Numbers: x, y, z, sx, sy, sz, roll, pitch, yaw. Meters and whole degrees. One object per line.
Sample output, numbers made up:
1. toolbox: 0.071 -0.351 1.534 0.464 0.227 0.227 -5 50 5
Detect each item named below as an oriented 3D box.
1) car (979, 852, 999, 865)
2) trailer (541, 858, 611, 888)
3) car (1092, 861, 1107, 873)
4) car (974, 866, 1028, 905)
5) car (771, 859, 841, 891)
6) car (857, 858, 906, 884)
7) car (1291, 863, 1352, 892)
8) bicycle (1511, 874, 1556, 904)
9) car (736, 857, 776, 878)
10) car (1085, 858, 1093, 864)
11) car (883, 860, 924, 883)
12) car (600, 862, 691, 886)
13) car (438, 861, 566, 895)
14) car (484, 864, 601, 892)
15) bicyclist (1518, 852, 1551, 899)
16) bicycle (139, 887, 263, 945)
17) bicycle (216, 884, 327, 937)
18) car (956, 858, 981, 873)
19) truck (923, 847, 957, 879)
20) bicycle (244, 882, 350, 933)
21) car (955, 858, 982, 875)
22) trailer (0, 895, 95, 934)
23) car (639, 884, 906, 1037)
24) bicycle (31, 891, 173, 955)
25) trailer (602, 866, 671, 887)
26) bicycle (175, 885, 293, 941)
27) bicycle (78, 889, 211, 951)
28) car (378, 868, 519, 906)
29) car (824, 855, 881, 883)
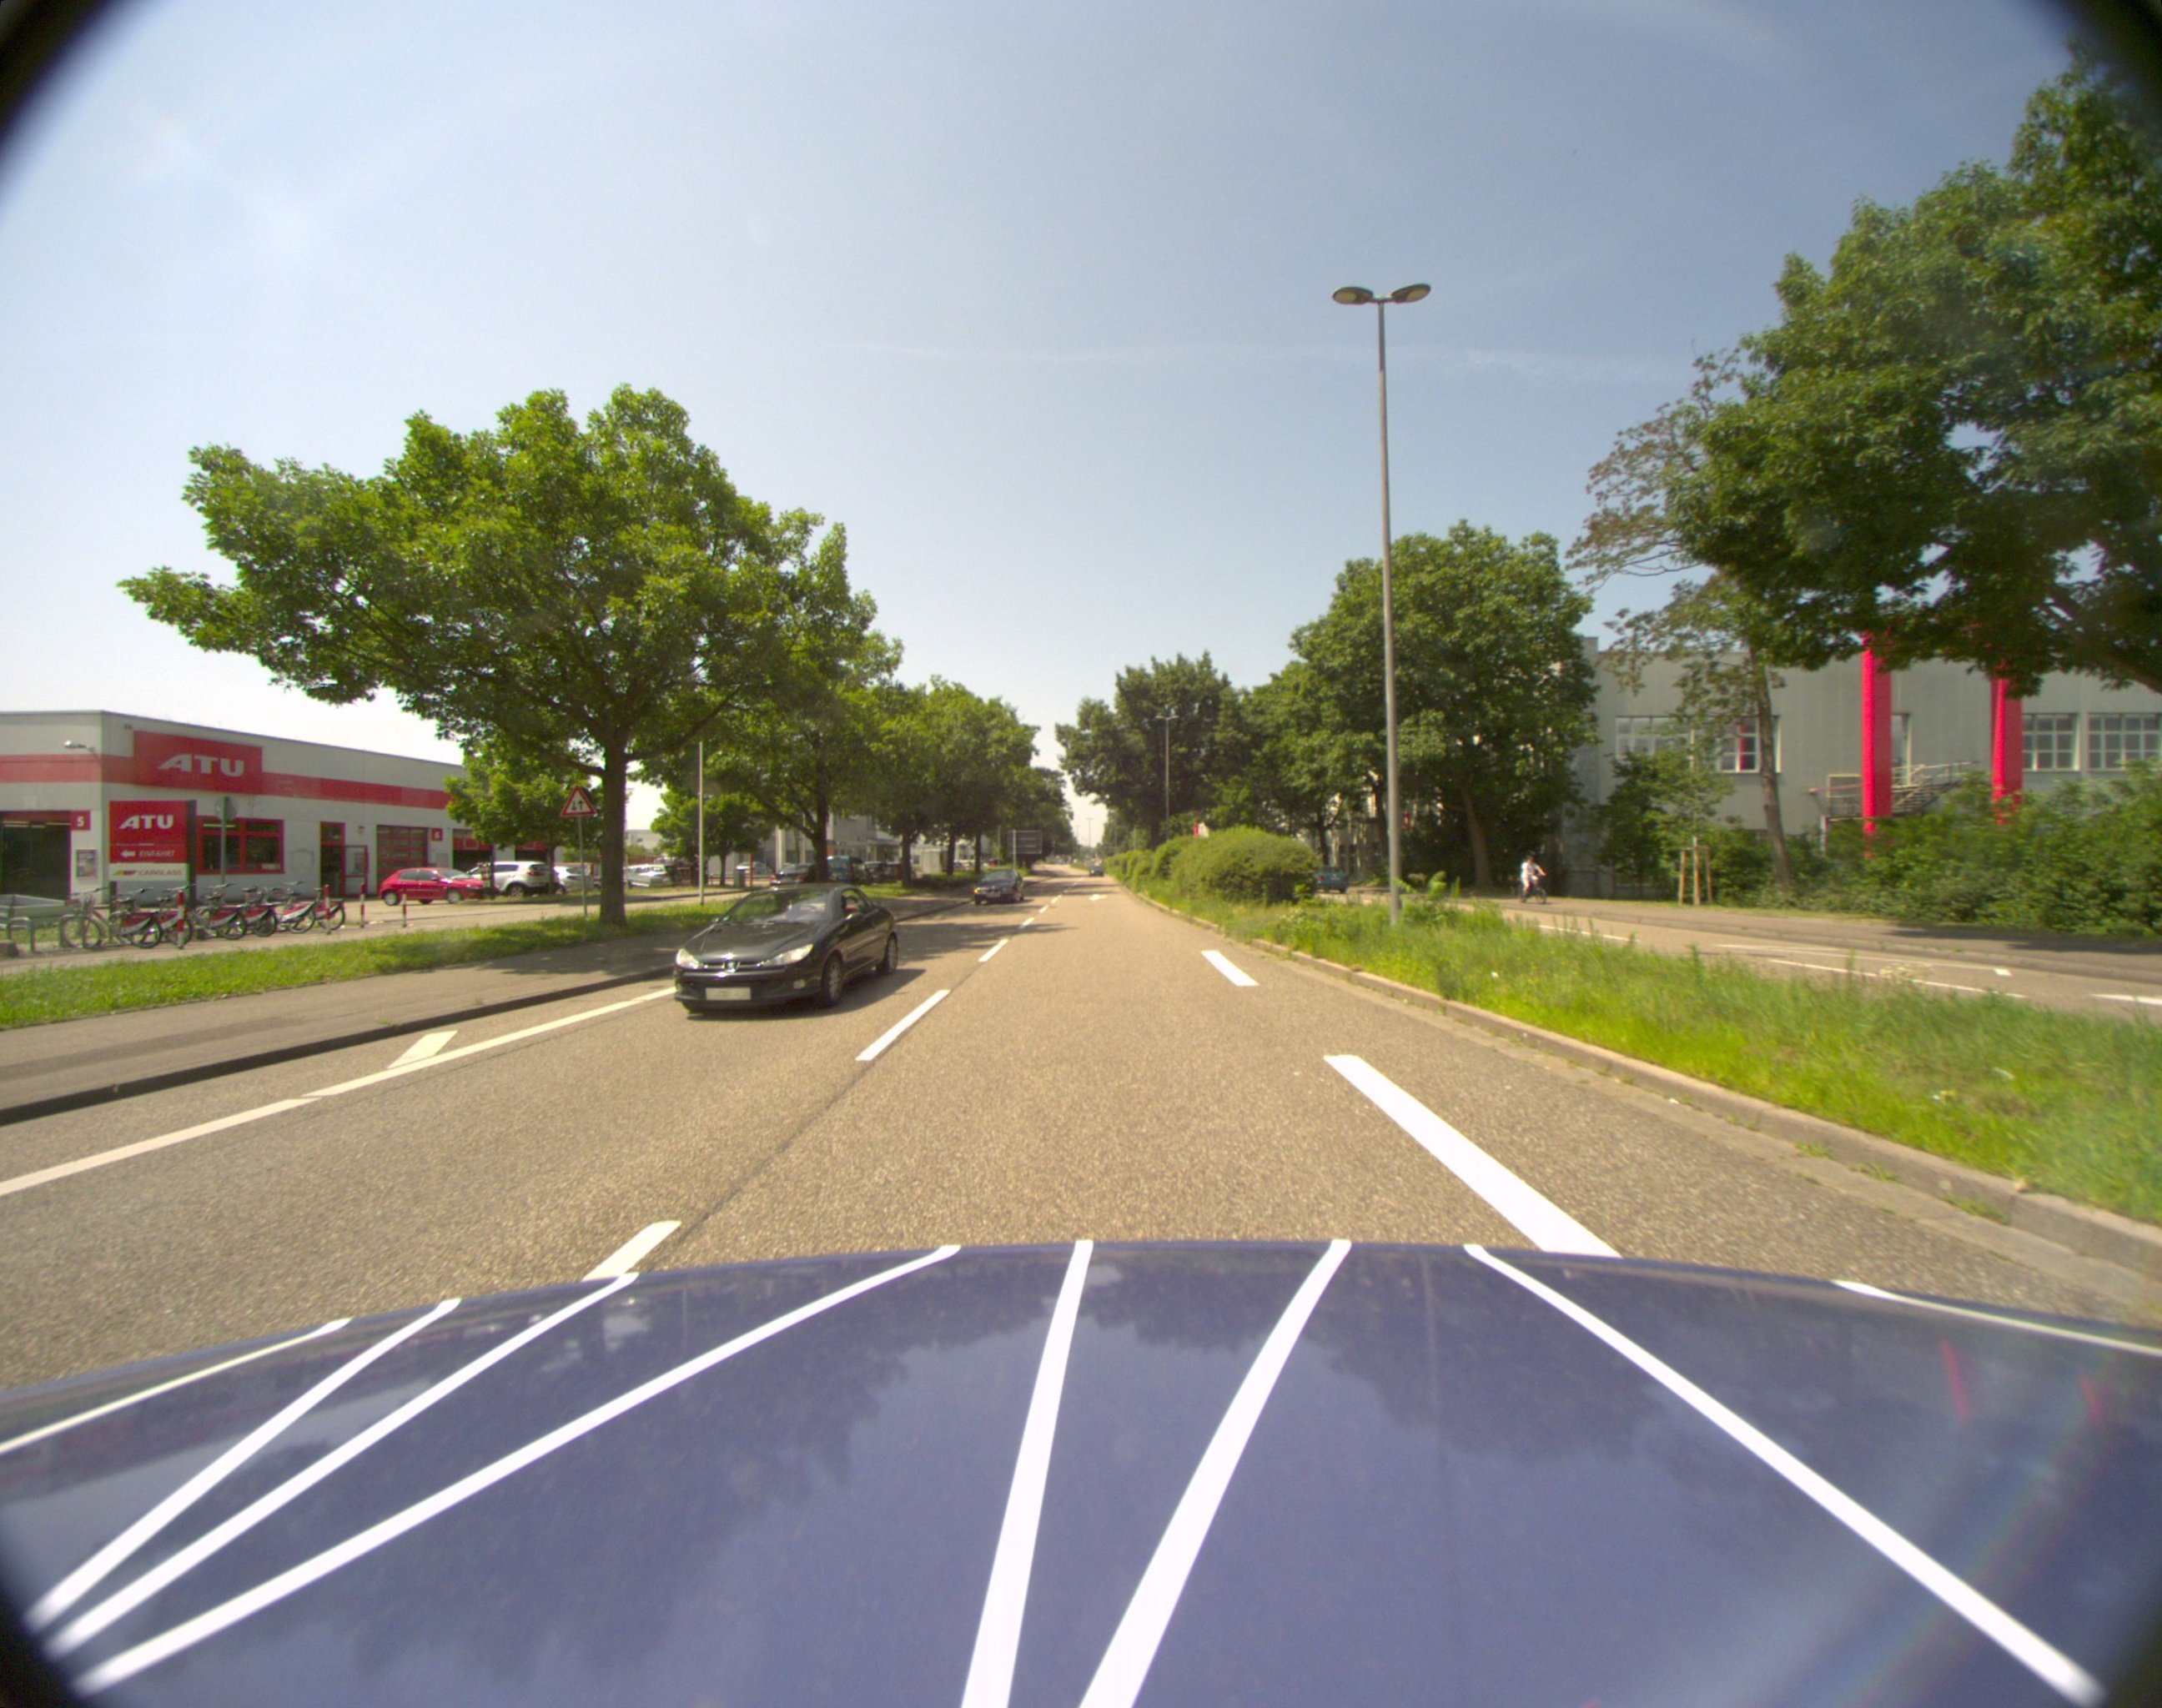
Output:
1. car: -10.837 0.548 89.968 1.719 1.458 4.001 0 0 2
2. trailer: -26.152 0.956 39.375 2.642 1.518 1.415 0 0 -1
3. car: 2.174 1.509 89.689 1.642 1.395 4.000 0 0 1
4. car: -3.184 1.229 30.893 1.642 1.363 4.145 -2 0 1
5. car: -12.444 0.919 34.648 1.642 1.363 4.001 0 0 2
6. car: -12.022 1.010 46.025 1.719 1.511 4.001 0 0 2
7. car: 12.569 1.194 39.964 1.690 1.379 4.588 2 0 0
8. bicycle: 15.868 1.224 26.685 0.618 0.963 1.660 0 0 2
9. car: -25.660 1.046 60.039 1.759 1.586 3.998 0 0 -5
10. car: 2.048 1.903 201.209 1.998 1.692 4.000 0 0 1
11. car: -12.092 1.165 51.966 1.719 1.504 4.001 0 0 2
12. car: -23.780 1.076 41.573 3.997 1.293 1.689 0 0 -2
13. car: -24.324 0.994 32.029 3.997 1.394 1.747 0 0 -2
14. car: -24.230 1.070 34.293 3.997 1.201 1.747 0 0 -2
15. bicyclist: 15.865 0.745 26.592 0.609 1.621 0.923 0 1 2
16. bicycle: -17.926 1.248 15.507 1.784 1.117 0.514 0 0 -5
17. bicycle: -17.954 1.236 16.881 1.784 1.117 0.514 0 0 -5
18. car: -11.228 1.123 75.924 1.719 1.458 4.001 0 0 2
19. truck: -11.781 0.750 63.693 1.904 2.552 4.001 0 0 3
20. bicycle: -18.028 1.229 17.495 1.784 1.117 0.514 0 0 -5
21. car: -10.271 1.117 69.319 1.719 1.458 4.001 0 0 2
22. trailer: -23.536 1.314 16.645 2.137 0.757 1.394 0 0 3
23. car: -3.559 1.144 9.621 1.642 1.336 4.000 -2 0 1
24. bicycle: -18.067 1.270 14.048 1.784 1.117 0.514 0 0 -5
25. trailer: -22.995 1.141 39.379 2.642 1.046 1.578 0 0 -1
26. bicycle: -17.983 1.241 16.151 1.784 1.117 0.514 0 0 -5
27. bicycle: -18.077 1.263 14.696 1.784 1.117 0.514 0 0 -5
28. car: -24.648 1.281 29.699 3.997 1.394 1.747 0 0 -1
29. car: -12.193 0.775 40.817 1.719 1.458 4.001 0 0 2
